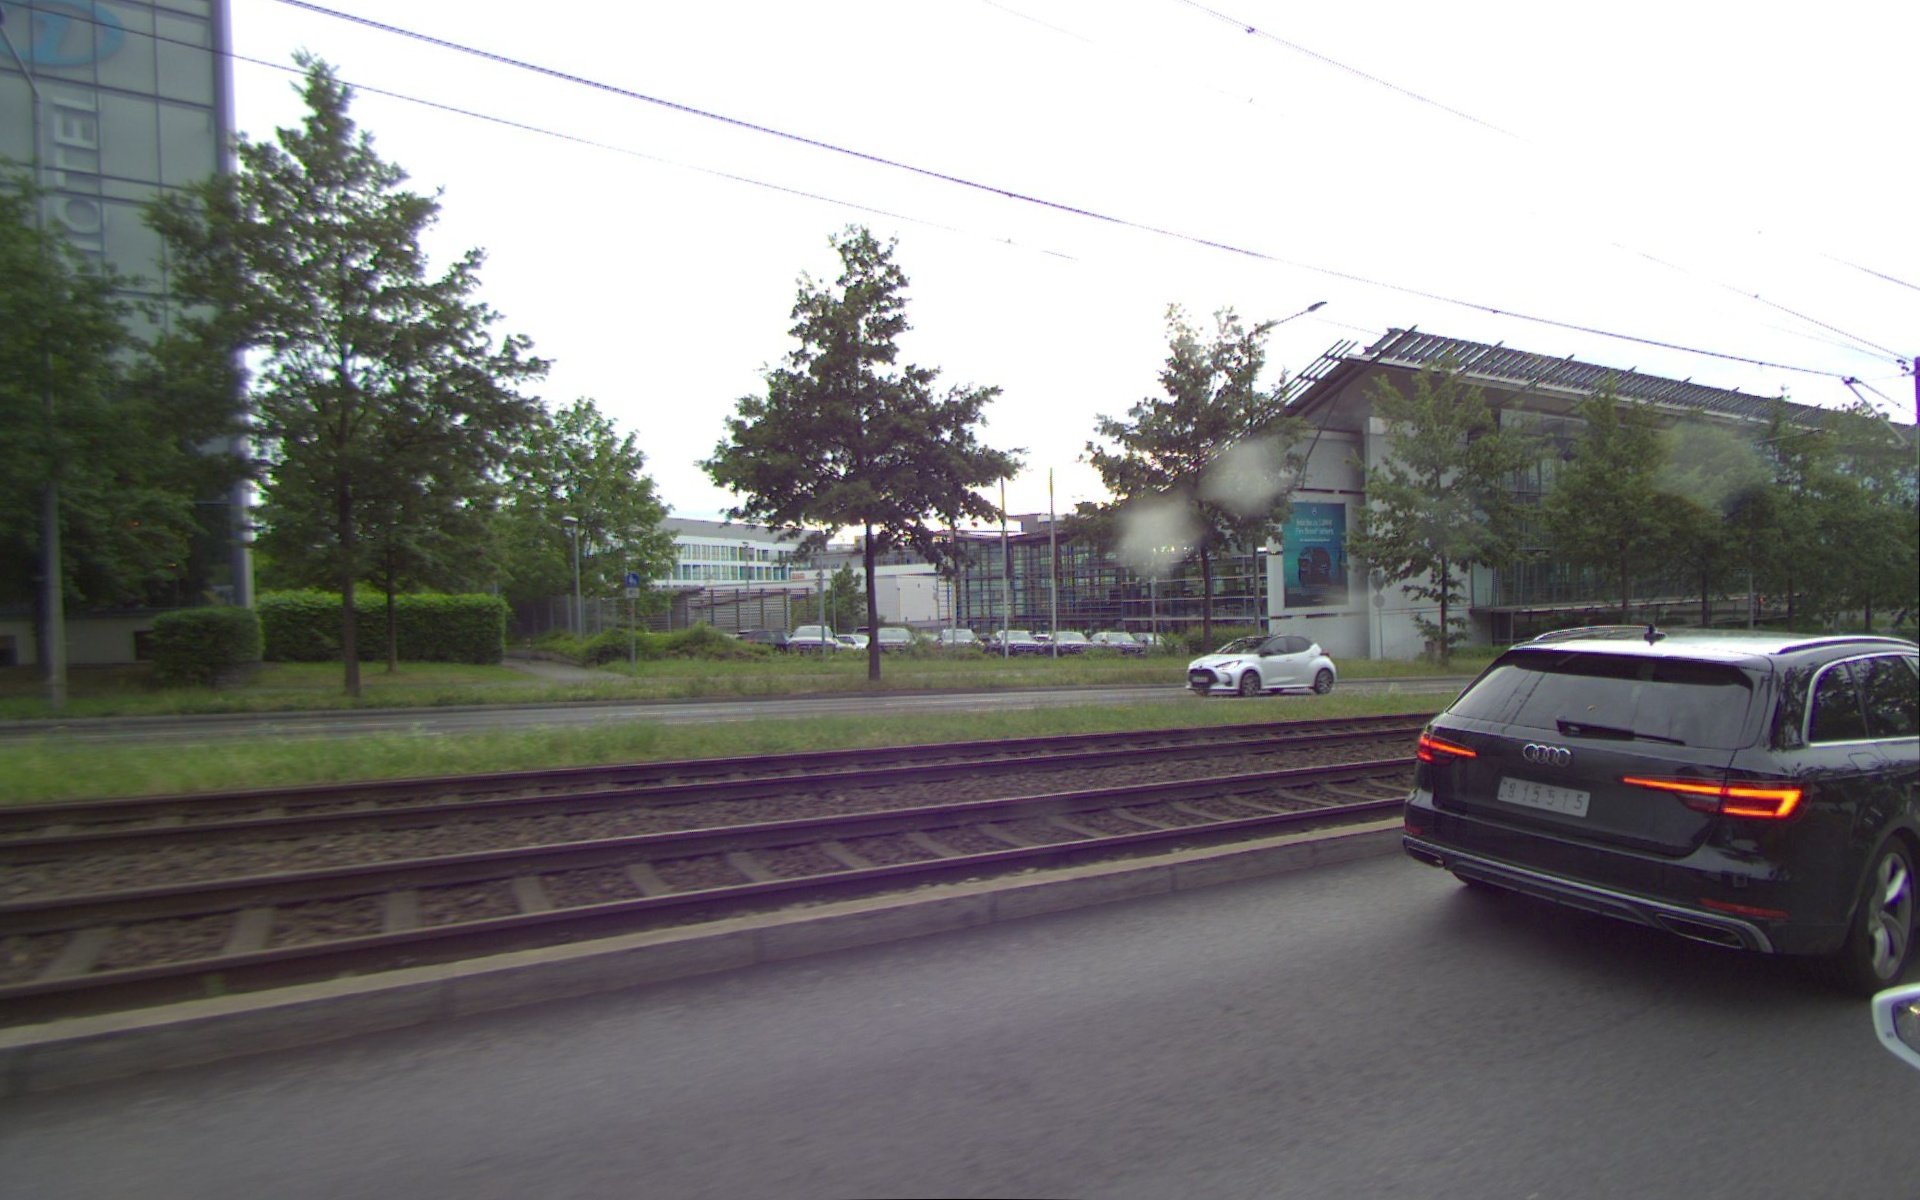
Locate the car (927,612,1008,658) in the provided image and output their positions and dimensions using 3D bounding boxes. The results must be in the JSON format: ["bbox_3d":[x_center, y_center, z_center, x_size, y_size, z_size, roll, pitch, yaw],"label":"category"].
[{"bbox_3d":[0.263,1.488,43.863,1.839,1.861,4.055,1,0,-28],"label":"car"}]

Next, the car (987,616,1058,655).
[{"bbox_3d":[3.226,1.839,52.495,1.839,1.861,4.055,1,0,-28],"label":"car"}]

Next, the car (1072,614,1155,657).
[{"bbox_3d":[7.257,1.652,47.751,1.839,1.861,4.055,1,0,-28],"label":"car"}]

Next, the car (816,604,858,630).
[{"bbox_3d":[-9.337,1.245,76.116,1.839,1.861,4.055,1,0,-28],"label":"car"}]

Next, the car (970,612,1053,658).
[{"bbox_3d":[2.250,1.533,44.898,1.839,1.861,4.055,1,0,-28],"label":"car"}]

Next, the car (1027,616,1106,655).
[{"bbox_3d":[4.868,1.618,46.420,1.618,1.639,4.037,1,0,-28],"label":"car"}]

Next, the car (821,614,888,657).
[{"bbox_3d":[-5.154,1.676,48.491,1.839,1.861,4.055,1,0,-28],"label":"car"}]

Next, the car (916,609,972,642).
[{"bbox_3d":[-1.010,1.551,62.169,1.839,1.861,4.055,1,0,-28],"label":"car"}]

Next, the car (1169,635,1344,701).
[{"bbox_3d":[7.290,1.605,24.661,4.090,1.466,1.872,1,-2,-31],"label":"car"}]

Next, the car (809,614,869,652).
[{"bbox_3d":[-6.485,1.733,53.640,1.839,1.861,4.055,1,0,-28],"label":"car"}]

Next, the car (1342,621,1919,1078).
[{"bbox_3d":[4.312,0.861,5.329,4.774,1.453,1.780,0,0,-32],"label":"car"}]
